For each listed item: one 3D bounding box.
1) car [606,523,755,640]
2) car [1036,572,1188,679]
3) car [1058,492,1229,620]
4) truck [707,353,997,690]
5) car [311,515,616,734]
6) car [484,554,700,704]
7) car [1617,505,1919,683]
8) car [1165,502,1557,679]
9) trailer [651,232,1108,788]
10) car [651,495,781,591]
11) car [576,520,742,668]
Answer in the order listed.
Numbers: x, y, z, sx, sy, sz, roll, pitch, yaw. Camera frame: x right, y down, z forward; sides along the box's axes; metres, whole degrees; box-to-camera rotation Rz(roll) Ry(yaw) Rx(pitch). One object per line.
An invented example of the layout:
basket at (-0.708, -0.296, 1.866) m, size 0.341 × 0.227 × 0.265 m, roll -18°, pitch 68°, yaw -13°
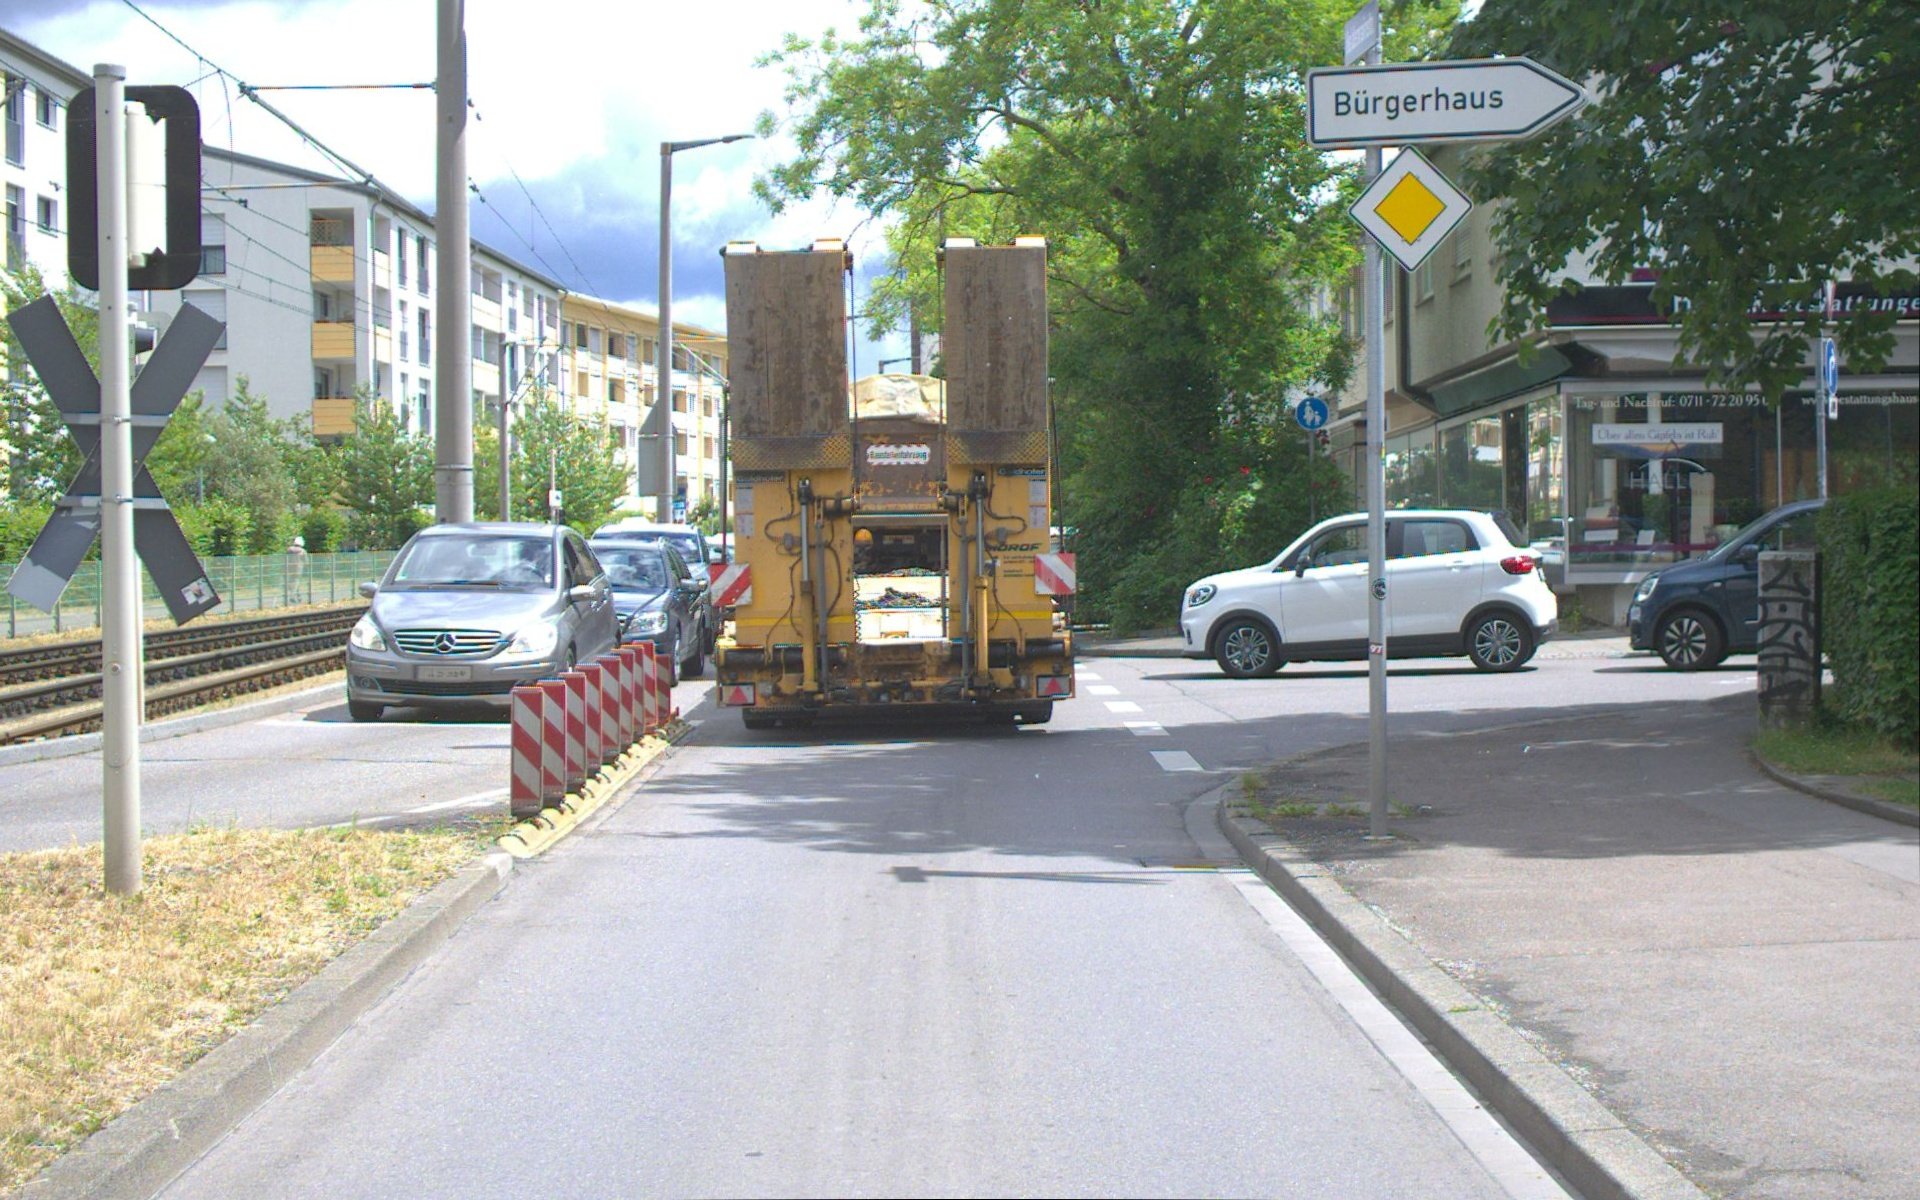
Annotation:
car at (-4.186, -0.315, 52.045) m, size 1.993 × 1.588 × 3.892 m, roll -2°, pitch 2°, yaw -1°
car at (2.269, 0.356, 52.300) m, size 1.993 × 1.382 × 4.001 m, roll -2°, pitch 2°, yaw -1°
car at (2.486, -0.647, 47.389) m, size 1.993 × 1.612 × 4.001 m, roll -2°, pitch 2°, yaw -1°
truck at (-1.323, -0.937, 38.795) m, size 2.833 × 3.318 × 7.986 m, roll -2°, pitch 2°, yaw -3°
car at (-4.067, 0.170, 28.772) m, size 1.802 × 1.646 × 4.131 m, roll -2°, pitch 0°, yaw 2°
car at (-3.638, 0.260, 34.553) m, size 1.602 × 1.376 × 3.956 m, roll -2°, pitch 0°, yaw 2°
car at (8.074, -0.084, 31.841) m, size 3.700 × 1.517 × 1.999 m, roll -1°, pitch 2°, yaw 17°
car at (3.923, -0.100, 33.316) m, size 3.600 × 1.579 × 1.999 m, roll -1°, pitch 1°, yaw 11°
trailer at (-0.891, -0.830, 29.650) m, size 3.050 × 3.759 × 11.615 m, roll -2°, pitch 2°, yaw -3°
car at (-4.142, -1.003, 58.897) m, size 1.993 × 1.515 × 3.892 m, roll -2°, pitch 2°, yaw -1°
car at (-3.744, -0.089, 43.318) m, size 1.602 × 1.726 × 3.938 m, roll -2°, pitch 0°, yaw 2°
